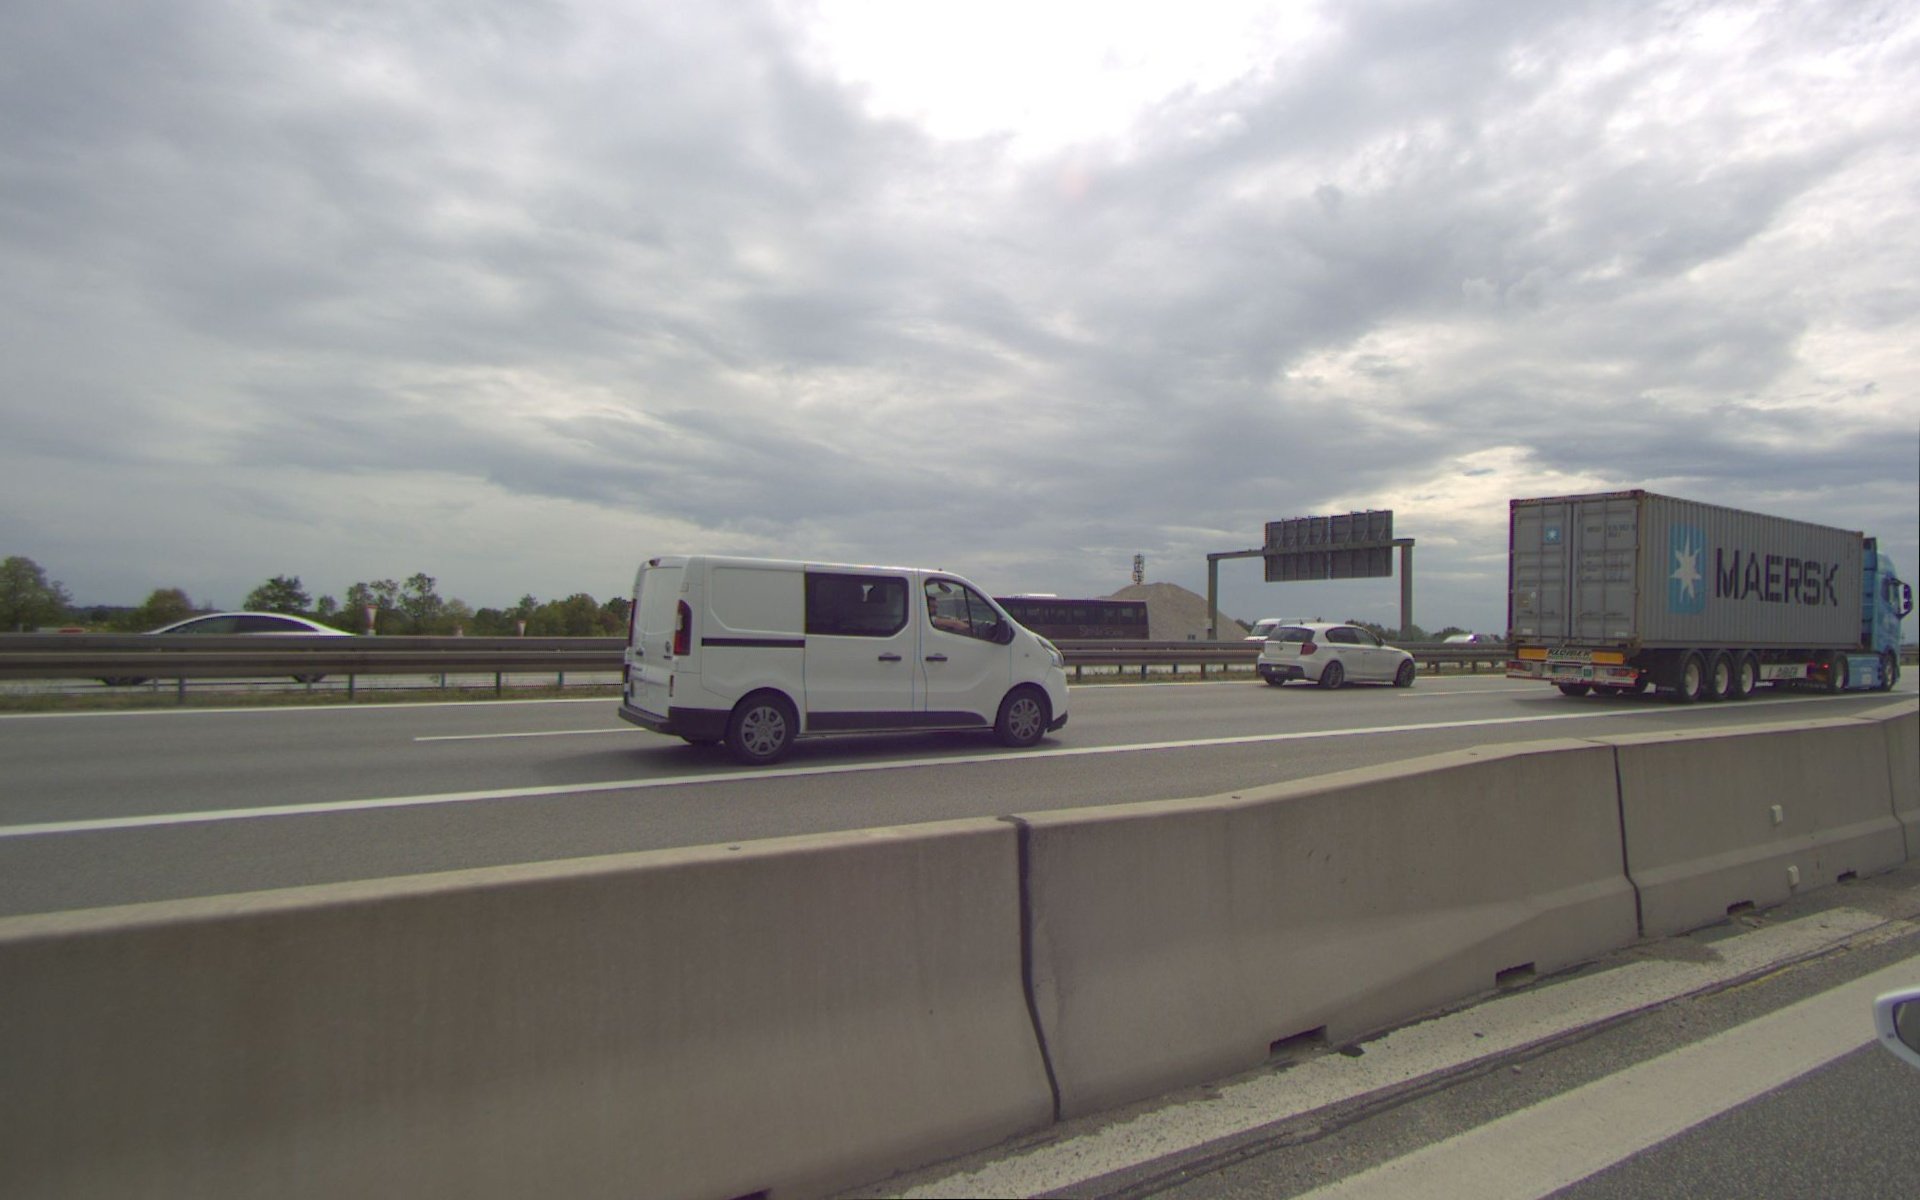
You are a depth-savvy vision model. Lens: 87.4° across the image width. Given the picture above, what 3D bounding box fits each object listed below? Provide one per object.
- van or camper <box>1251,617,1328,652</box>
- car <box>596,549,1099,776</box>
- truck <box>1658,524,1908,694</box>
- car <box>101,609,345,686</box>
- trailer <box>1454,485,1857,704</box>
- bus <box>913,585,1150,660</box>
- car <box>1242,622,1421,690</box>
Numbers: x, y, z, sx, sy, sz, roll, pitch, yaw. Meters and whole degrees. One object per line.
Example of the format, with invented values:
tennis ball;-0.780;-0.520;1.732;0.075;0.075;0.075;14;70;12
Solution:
van or camper;20.343;2.137;61.938;4.833;2.040;1.981;2;0;-34
car;-1.083;0.600;10.938;5.078;1.963;1.987;2;0;-34
truck;21.840;0.284;26.602;6.538;3.963;3.229;2;0;-33
car;-15.271;0.975;21.091;3.954;1.483;1.515;2;-1;-31
trailer;16.297;0.053;22.953;12.249;3.976;3.217;2;0;-34
bus;3.918;1.223;51.667;12.854;3.488;3.195;2;0;-33
car;8.437;1.234;22.703;4.163;1.387;1.741;2;-1;-35
